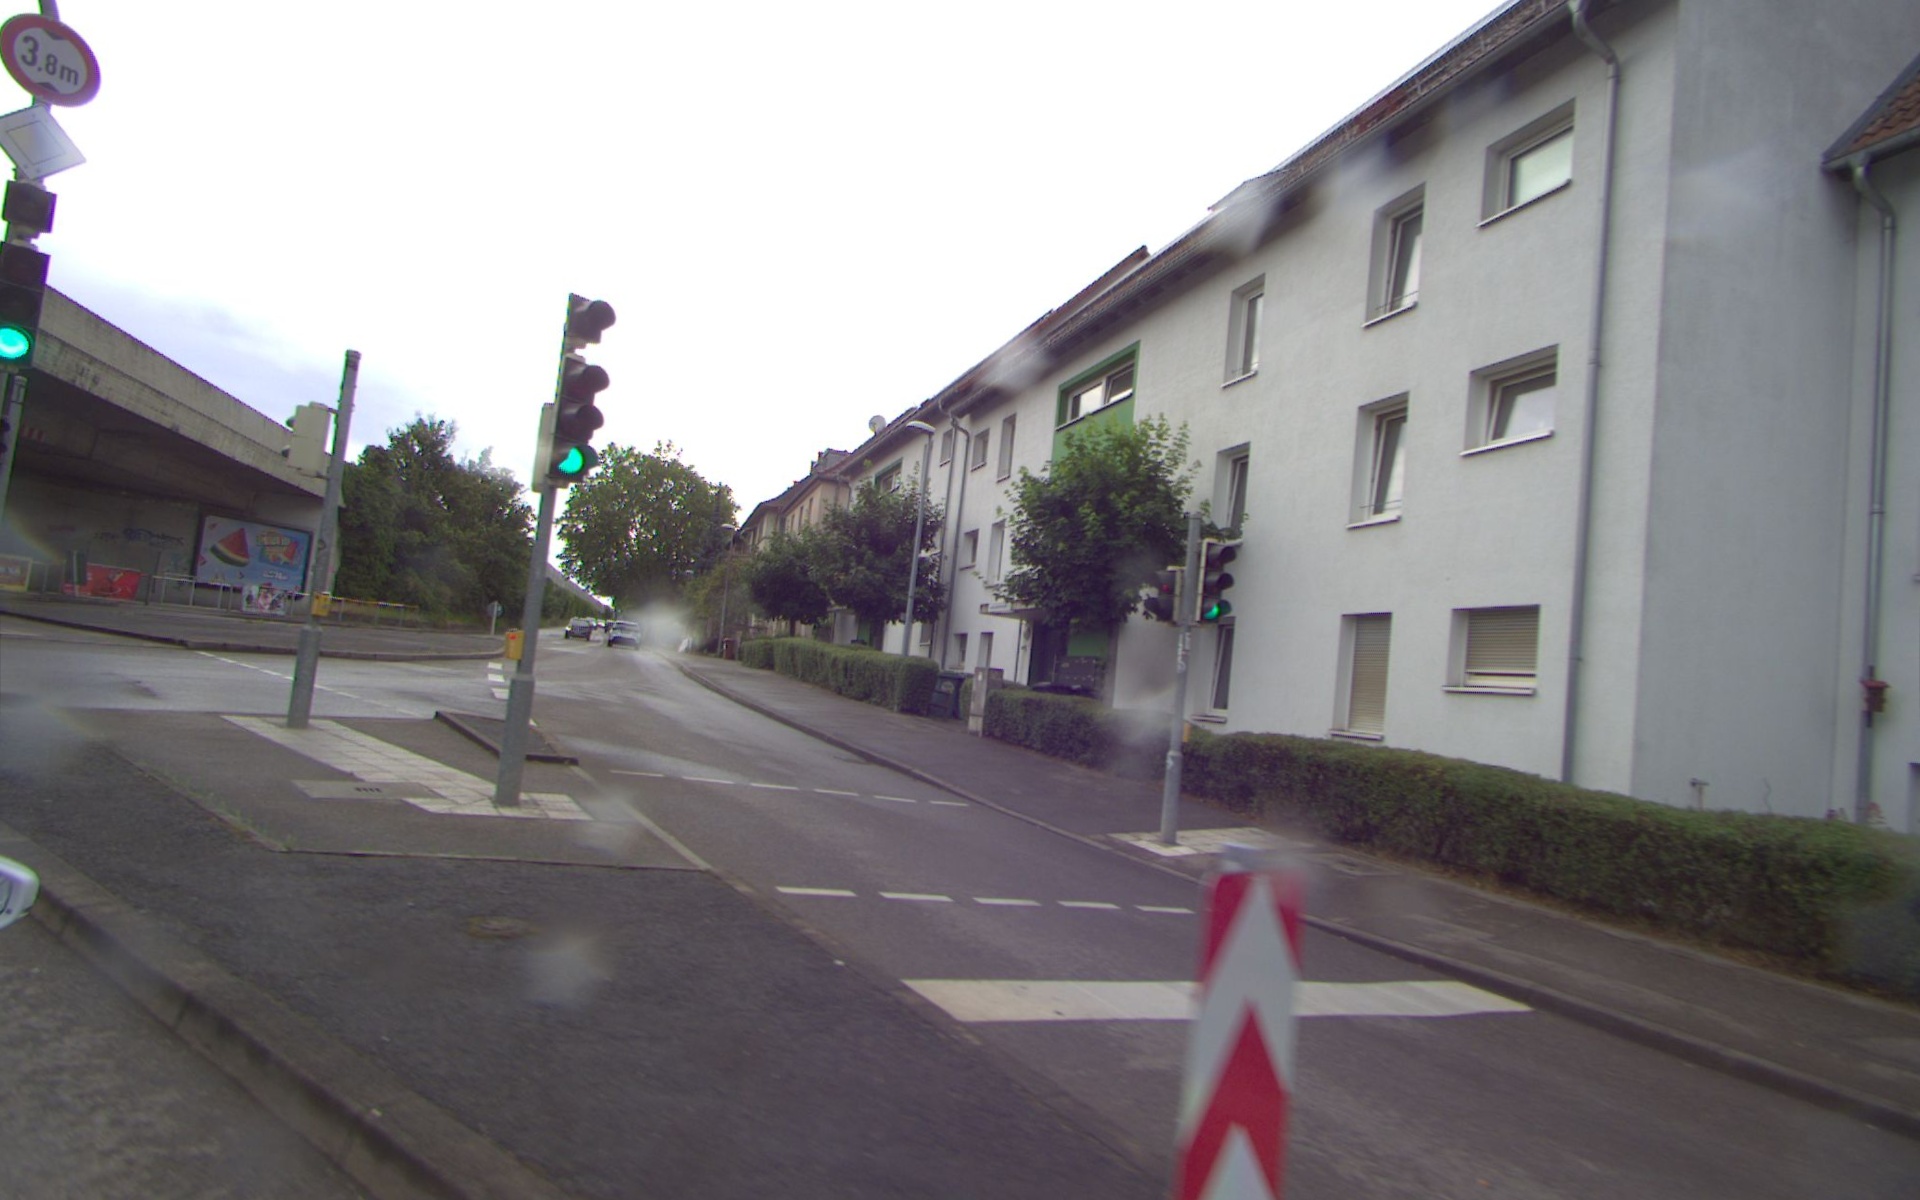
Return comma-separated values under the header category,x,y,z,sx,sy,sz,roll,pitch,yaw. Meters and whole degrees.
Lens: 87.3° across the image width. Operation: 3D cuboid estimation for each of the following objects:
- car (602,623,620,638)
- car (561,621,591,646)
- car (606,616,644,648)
category,x,y,z,sx,sy,sz,roll,pitch,yaw
car,-45.546,4.010,131.267,1.857,1.546,3.983,10,-4,-21
car,-28.555,2.496,74.895,1.743,1.597,4.223,6,-3,-18
car,-19.362,1.827,58.087,1.856,1.546,3.987,10,-4,-19
